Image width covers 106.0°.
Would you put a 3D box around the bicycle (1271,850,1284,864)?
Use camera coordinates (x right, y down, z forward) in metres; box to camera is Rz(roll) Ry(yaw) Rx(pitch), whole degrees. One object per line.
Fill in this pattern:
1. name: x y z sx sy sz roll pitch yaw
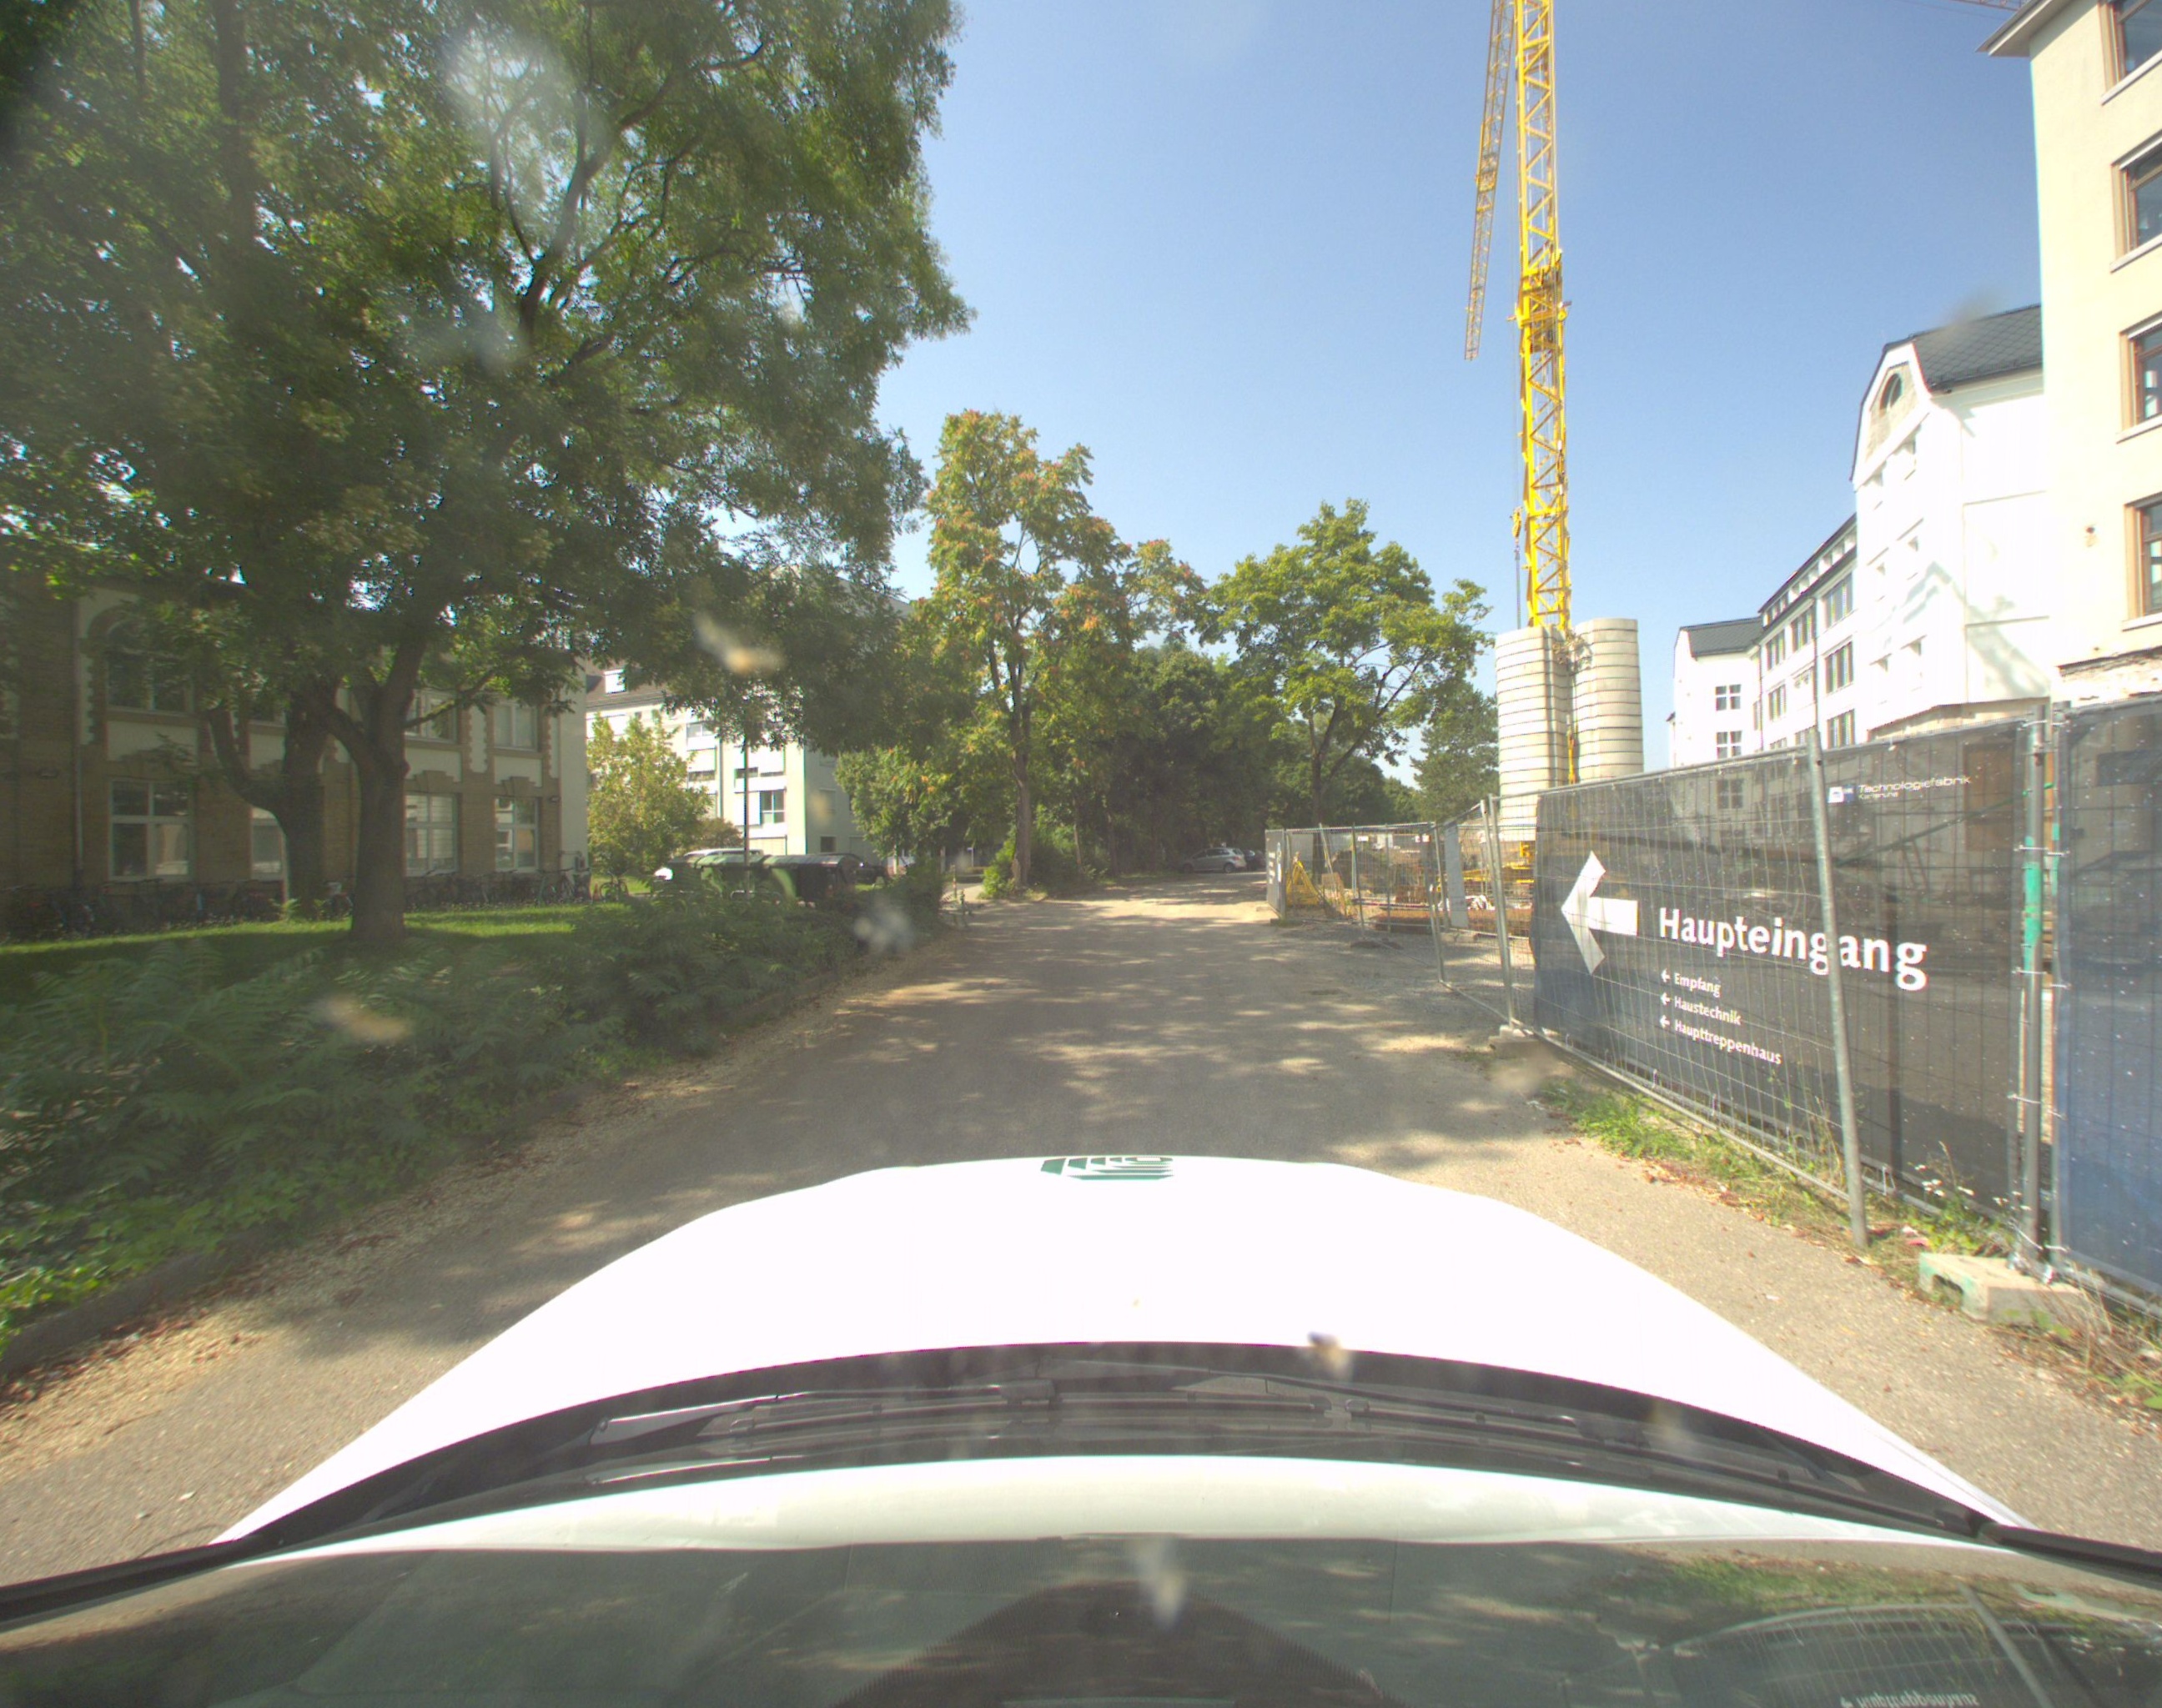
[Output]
1. bicycle: 16.425 0.252 68.151 0.494 1.107 1.811 0 1 33

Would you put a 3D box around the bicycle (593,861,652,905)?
1. bicycle: -14.332 0.905 25.423 2.145 1.302 0.613 -1 0 31

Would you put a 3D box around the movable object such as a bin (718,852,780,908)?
1. movable object such as a bin: -9.105 0.696 22.356 1.088 1.481 1.107 0 0 22

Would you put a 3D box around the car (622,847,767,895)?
1. car: -16.584 0.655 35.243 2.470 1.881 5.116 -1 0 30

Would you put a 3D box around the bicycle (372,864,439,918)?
1. bicycle: -16.961 0.919 20.426 2.145 1.302 0.613 -1 0 31

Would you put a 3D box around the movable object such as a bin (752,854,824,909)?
1. movable object such as a bin: -7.916 0.718 22.025 1.316 1.431 1.256 0 0 21

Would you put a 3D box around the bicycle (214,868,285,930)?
1. bicycle: -18.381 0.975 17.997 2.145 1.302 0.613 -1 0 31

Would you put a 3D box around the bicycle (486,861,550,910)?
1. bicycle: -15.678 0.876 22.651 2.145 1.302 0.613 -1 0 31

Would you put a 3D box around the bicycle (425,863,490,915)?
1. bicycle: -16.372 0.899 21.371 2.145 1.302 0.613 -1 0 31

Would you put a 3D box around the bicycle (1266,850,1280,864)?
1. bicycle: 15.587 0.268 66.185 0.494 1.107 1.811 0 1 33

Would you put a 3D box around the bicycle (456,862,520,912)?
1. bicycle: -16.113 0.885 22.108 2.145 1.302 0.613 -1 0 31

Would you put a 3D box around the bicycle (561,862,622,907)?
1. bicycle: -14.739 0.912 24.501 2.145 1.302 0.613 -1 0 31

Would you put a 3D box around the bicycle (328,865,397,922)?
1. bicycle: -17.340 0.940 19.633 2.145 1.302 0.613 -1 0 31

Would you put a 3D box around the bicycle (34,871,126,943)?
1. bicycle: -19.481 0.999 15.838 2.494 1.302 0.777 -1 0 31

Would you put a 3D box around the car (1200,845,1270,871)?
1. car: 10.137 0.247 53.600 4.108 1.612 2.012 0 1 29

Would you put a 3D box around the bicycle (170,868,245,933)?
1. bicycle: -18.684 0.977 17.404 2.244 1.302 0.631 -1 0 31

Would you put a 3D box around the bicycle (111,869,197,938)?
1. bicycle: -19.015 0.988 16.689 2.244 1.302 0.777 -1 0 31

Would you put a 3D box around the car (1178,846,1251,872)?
1. car: 8.413 0.283 51.506 4.108 1.612 2.012 0 1 29

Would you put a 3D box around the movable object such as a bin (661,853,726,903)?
1. movable object such as a bin: -11.567 0.685 24.345 1.192 1.444 1.256 0 0 22

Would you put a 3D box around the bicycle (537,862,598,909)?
1. bicycle: -15.085 0.914 23.905 2.145 1.302 0.613 -1 0 31

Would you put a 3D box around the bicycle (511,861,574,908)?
1. bicycle: -15.422 0.872 23.299 2.145 1.302 0.613 -1 0 31

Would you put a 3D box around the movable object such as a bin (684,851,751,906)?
1. movable object such as a bin: -10.293 0.677 23.116 1.192 1.495 1.256 0 0 22

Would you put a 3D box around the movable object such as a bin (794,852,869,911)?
1. movable object such as a bin: -6.512 0.695 21.311 1.359 1.493 1.341 0 0 13

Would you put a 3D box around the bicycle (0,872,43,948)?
1. bicycle: -19.735 1.006 14.797 2.494 1.302 0.777 -1 0 31

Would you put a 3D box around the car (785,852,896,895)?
1. car: -9.234 0.700 31.553 1.685 1.528 3.937 -1 0 34

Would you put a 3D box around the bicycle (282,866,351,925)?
1. bicycle: -17.907 0.948 19.066 2.145 1.302 0.613 -1 0 31
